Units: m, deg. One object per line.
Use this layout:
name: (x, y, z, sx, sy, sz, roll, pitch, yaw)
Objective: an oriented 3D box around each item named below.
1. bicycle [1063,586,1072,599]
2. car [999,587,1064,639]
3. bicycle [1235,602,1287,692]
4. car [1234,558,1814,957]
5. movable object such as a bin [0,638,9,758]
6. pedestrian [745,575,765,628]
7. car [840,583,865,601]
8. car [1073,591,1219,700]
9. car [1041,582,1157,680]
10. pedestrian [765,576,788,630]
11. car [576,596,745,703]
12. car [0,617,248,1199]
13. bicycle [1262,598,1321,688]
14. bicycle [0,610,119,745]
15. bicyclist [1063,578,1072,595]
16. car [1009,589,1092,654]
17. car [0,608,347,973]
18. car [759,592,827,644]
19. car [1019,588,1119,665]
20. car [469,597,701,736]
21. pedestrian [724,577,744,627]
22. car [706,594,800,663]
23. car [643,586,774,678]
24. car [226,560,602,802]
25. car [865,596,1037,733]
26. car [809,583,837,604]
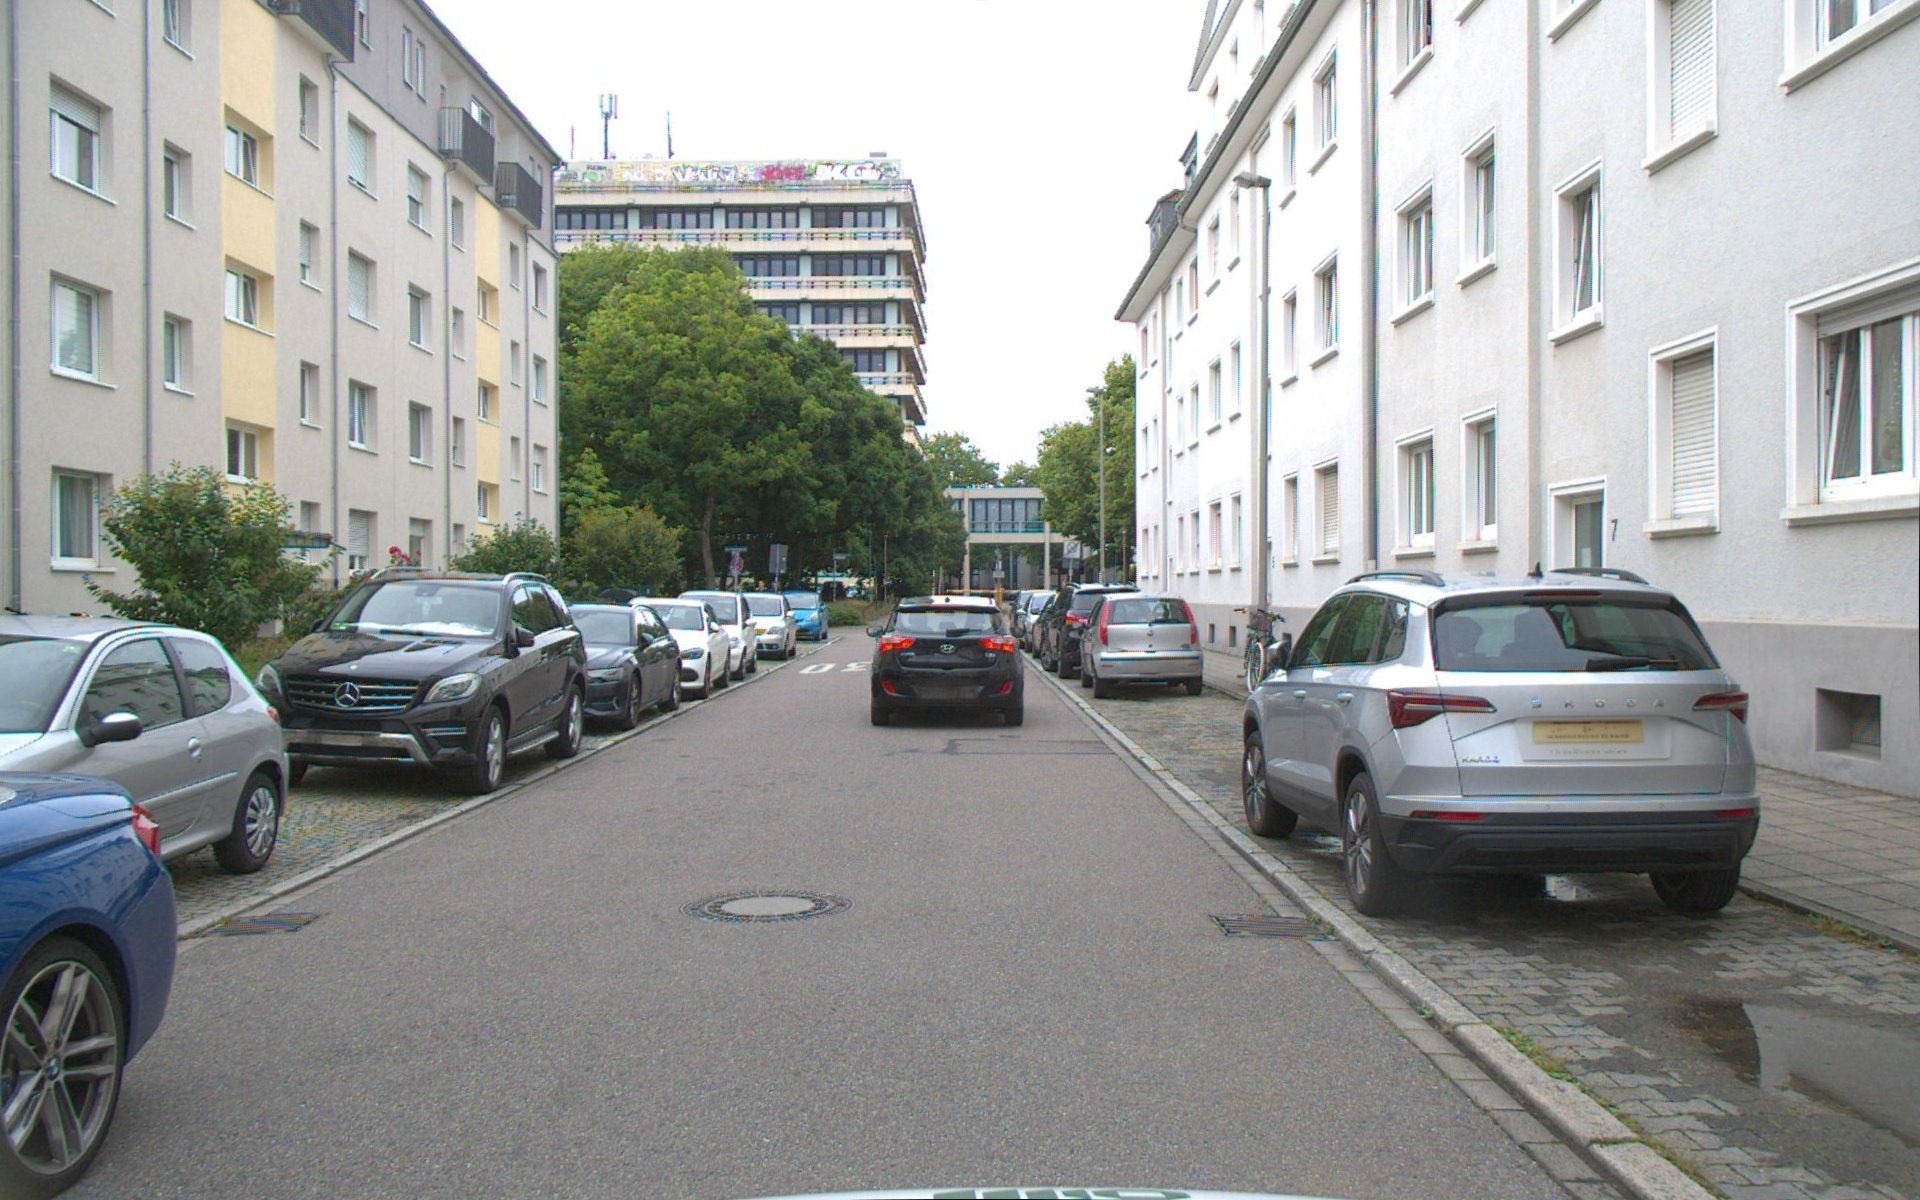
bicycle: (9.104, -0.642, 140.165, 0.678, 1.014, 1.735, 0, 1, 1)
car: (2.250, 0.395, 52.936, 1.783, 1.546, 4.672, -1, 0, -1)
bicycle: (4.254, 0.638, 23.458, 0.519, 1.196, 2.038, -2, 0, 5)
car: (2.709, 0.648, 9.000, 1.783, 1.671, 4.091, 0, 0, 0)
movable object such as a bin: (-8.069, 0.808, 13.232, 0.540, 0.971, 0.635, -1, 0, -1)
pedestrian: (-7.205, 0.050, 58.214, 0.592, 1.863, 0.675, 0, 0, 1)
car: (-8.088, -0.613, 124.663, 1.632, 1.356, 3.395, 0, 1, 0)
car: (2.748, 0.631, 25.234, 1.783, 1.529, 4.091, 0, 0, 0)
car: (2.442, 0.509, 29.927, 1.783, 1.631, 4.091, 0, 0, 0)
pedestrian: (-6.420, 0.103, 57.897, 0.699, 1.863, 0.797, 0, 0, 1)
car: (-4.653, 0.713, 26.334, 1.856, 1.477, 4.520, 2, 0, -1)
car: (-3.179, 0.805, 2.970, 1.807, 1.476, 4.501, 0, 0, 1)
bicycle: (4.677, 0.579, 23.427, 0.564, 1.196, 2.038, -2, 0, 5)
bicycle: (-9.414, 0.741, 16.560, 0.772, 1.233, 2.355, -1, 1, 0)
bicyclist: (9.102, -1.145, 140.257, 0.679, 1.469, 0.795, 0, 0, 0)
car: (2.239, 0.502, 42.128, 1.783, 1.546, 4.673, 0, 0, -1)
car: (-4.837, 0.822, 8.850, 1.709, 1.490, 3.785, -1, 0, -1)
car: (-5.304, 0.546, 53.042, 1.954, 1.568, 3.998, 0, 0, -3)
car: (2.295, 0.523, 36.003, 1.783, 1.546, 4.672, 0, 0, -1)
car: (-4.566, 0.740, 20.880, 1.856, 1.477, 4.666, 2, 0, -1)
pedestrian: (-7.895, 0.058, 57.890, 0.588, 1.743, 0.648, 0, 0, 1)
car: (-5.026, 0.658, 40.620, 1.954, 1.568, 3.998, 0, 0, -3)
car: (-4.847, 0.573, 32.420, 1.856, 1.626, 4.520, 2, 0, -1)
car: (-4.625, 0.606, 14.782, 1.856, 1.770, 4.474, 2, 0, -1)
car: (-0.088, 0.702, 20.239, 1.864, 1.458, 4.233, -1, 0, 0)
car: (-9.193, -0.461, 111.216, 1.632, 1.356, 3.395, 0, 1, 0)
